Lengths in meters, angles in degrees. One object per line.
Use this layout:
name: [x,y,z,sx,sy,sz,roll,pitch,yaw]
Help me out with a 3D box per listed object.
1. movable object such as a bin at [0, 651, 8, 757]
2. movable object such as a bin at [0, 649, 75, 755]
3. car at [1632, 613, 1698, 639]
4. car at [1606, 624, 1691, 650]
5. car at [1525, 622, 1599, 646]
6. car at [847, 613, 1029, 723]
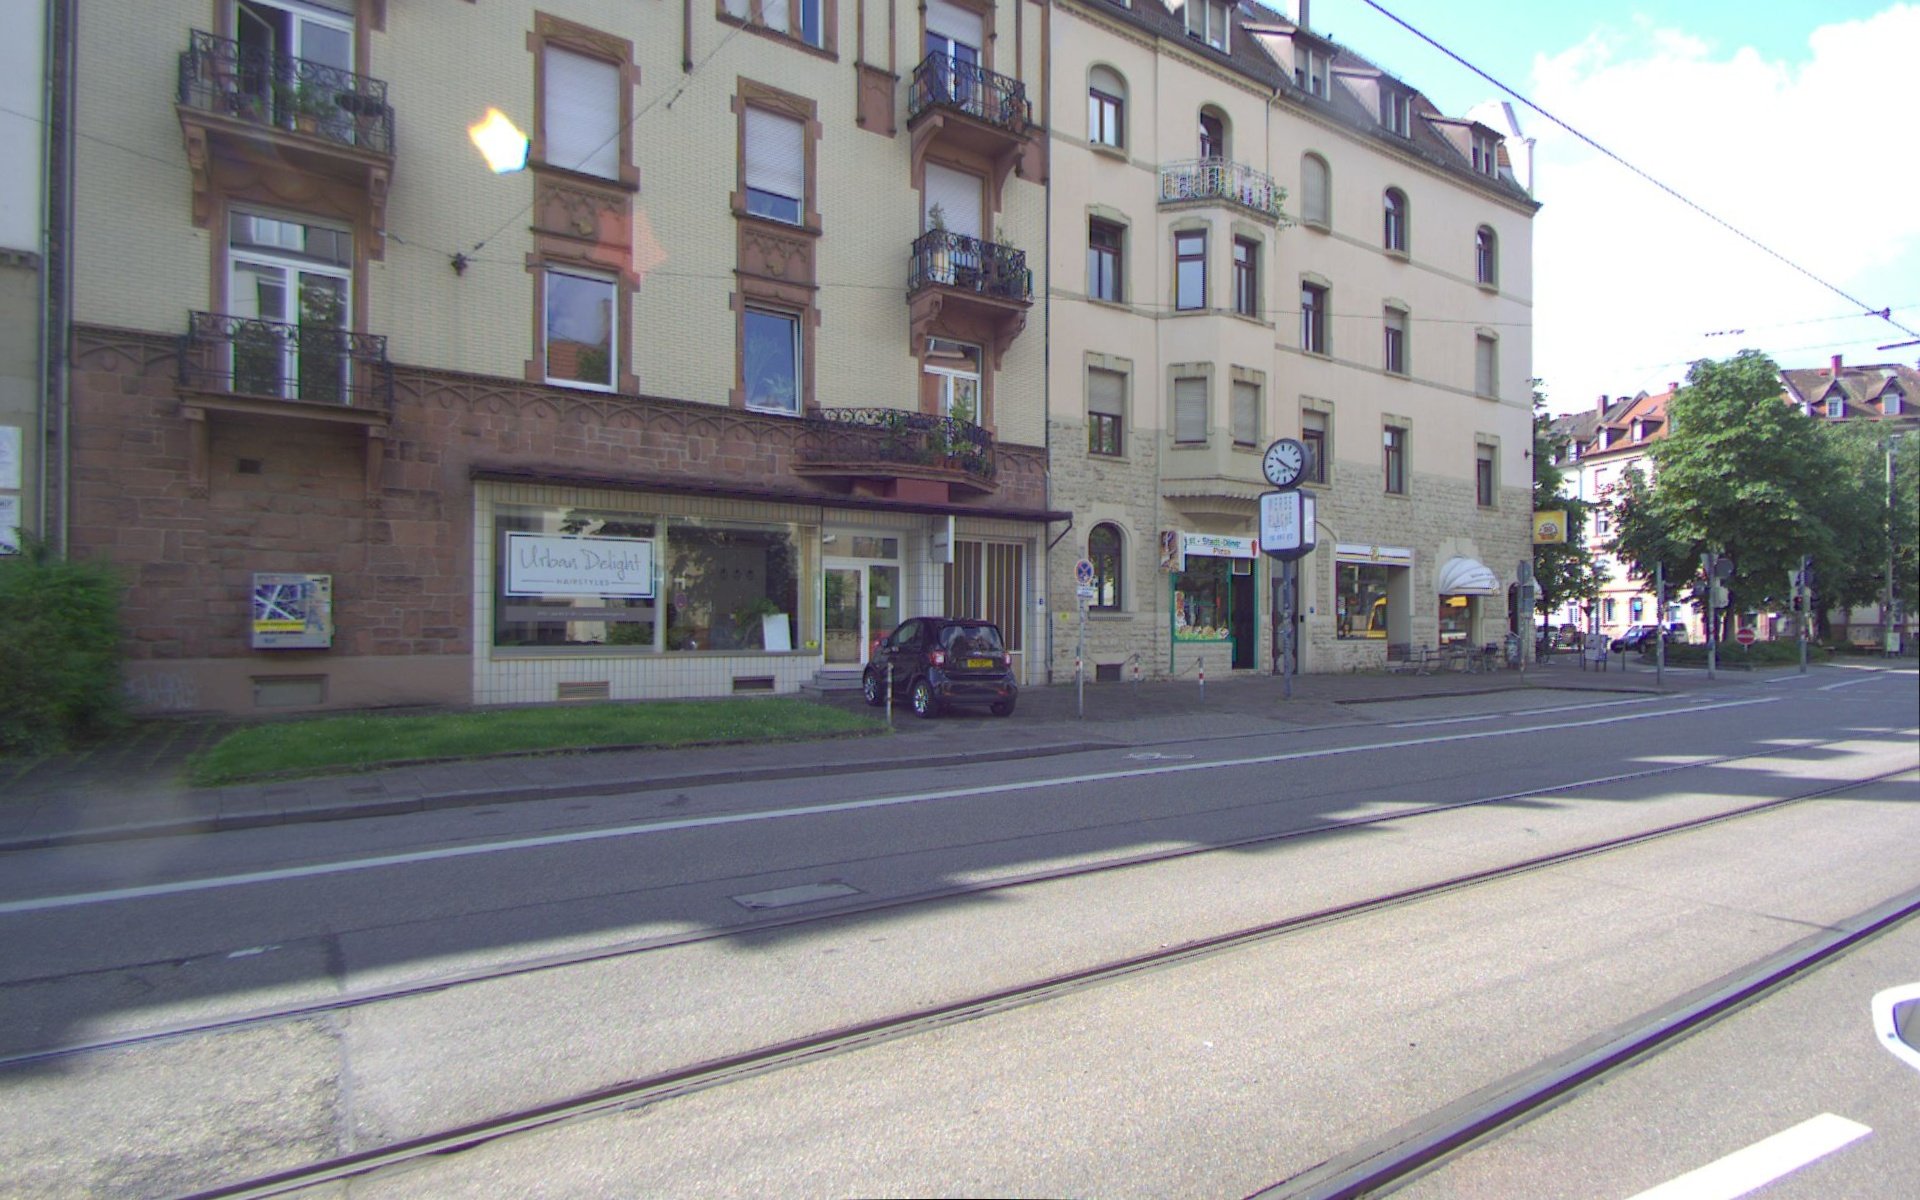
movable object such as a bin: [-9.876,1.030,9.820,0.468,1.043,0.704,0,-1,30]
movable object such as a bin: [-9.626,1.042,10.424,0.468,1.043,0.536,0,-1,30]
car: [52.855,1.946,75.354,1.962,1.929,3.997,0,-1,-5]
car: [41.832,2.250,61.132,3.989,1.538,1.761,0,-1,21]
car: [41.646,2.306,69.517,1.976,1.617,3.970,1,-1,-29]
car: [-0.453,1.048,16.757,1.716,1.505,3.163,1,1,-30]
